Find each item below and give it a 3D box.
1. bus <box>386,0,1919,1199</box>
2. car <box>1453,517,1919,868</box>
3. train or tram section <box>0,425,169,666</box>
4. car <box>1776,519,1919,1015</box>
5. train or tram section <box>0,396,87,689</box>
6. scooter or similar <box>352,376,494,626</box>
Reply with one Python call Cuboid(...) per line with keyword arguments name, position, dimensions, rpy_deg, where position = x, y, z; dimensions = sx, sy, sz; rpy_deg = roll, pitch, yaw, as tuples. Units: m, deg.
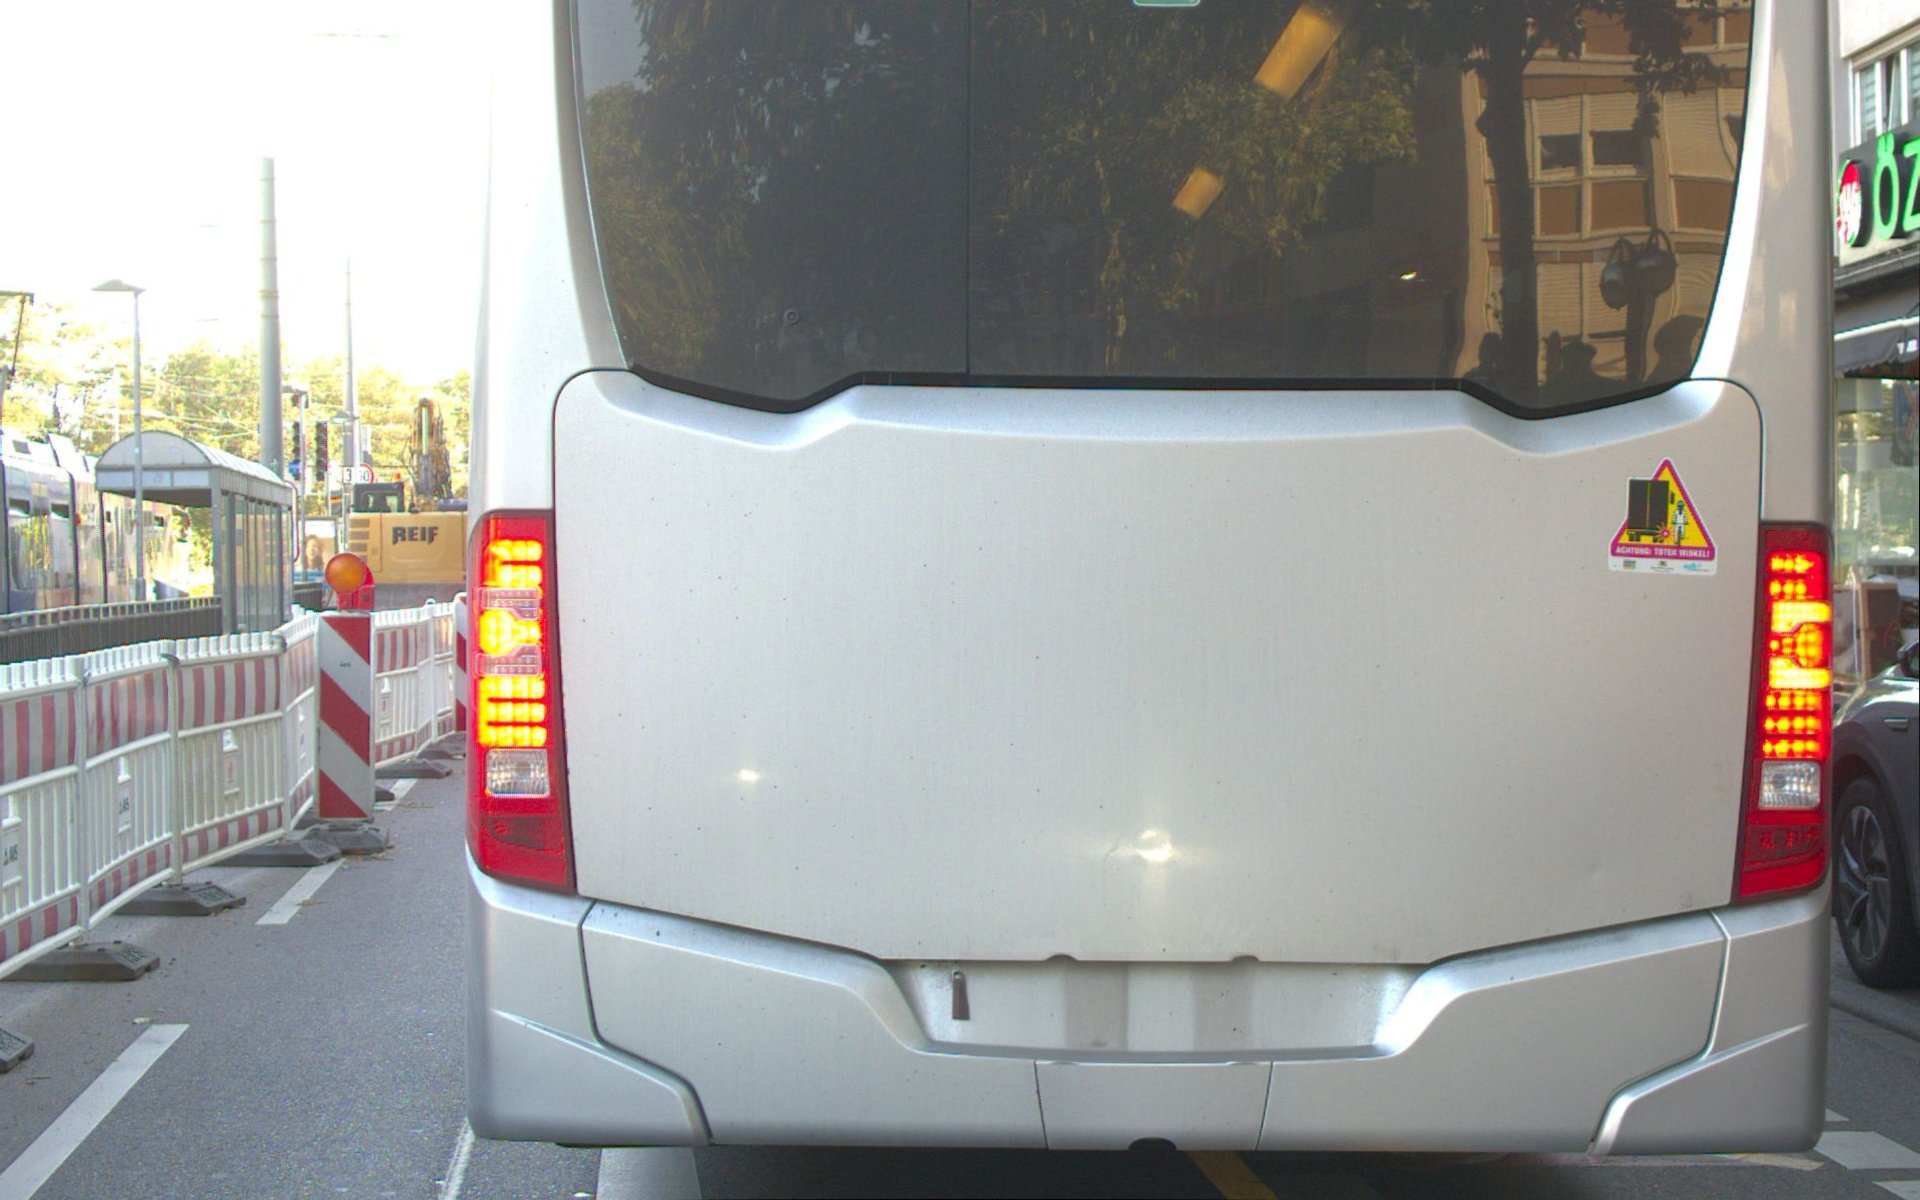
Cuboid(name="bus", position=(0.297, -0.217, 9.902), dimensions=(2.611, 3.115, 7.993), rpy_deg=(1, 1, -1))
Cuboid(name="car", position=(4.182, 0.388, 18.524), dimensions=(1.993, 1.576, 4.369), rpy_deg=(-3, 1, -5))
Cuboid(name="train or tram section", position=(-14.800, -0.877, 56.119), dimensions=(2.686, 3.521, 11.585), rpy_deg=(1, 1, -8))
Cuboid(name="car", position=(4.130, 0.520, 10.160), dimensions=(1.993, 1.576, 4.369), rpy_deg=(-3, 1, -5))
Cuboid(name="train or tram section", position=(-13.397, -0.742, 44.641), dimensions=(2.686, 3.546, 11.585), rpy_deg=(1, 1, -8))
Cuboid(name="scooter or similar", position=(-10.051, -1.819, 64.766), dimensions=(2.468, 4.455, 5.974), rpy_deg=(-1, 1, -8))
